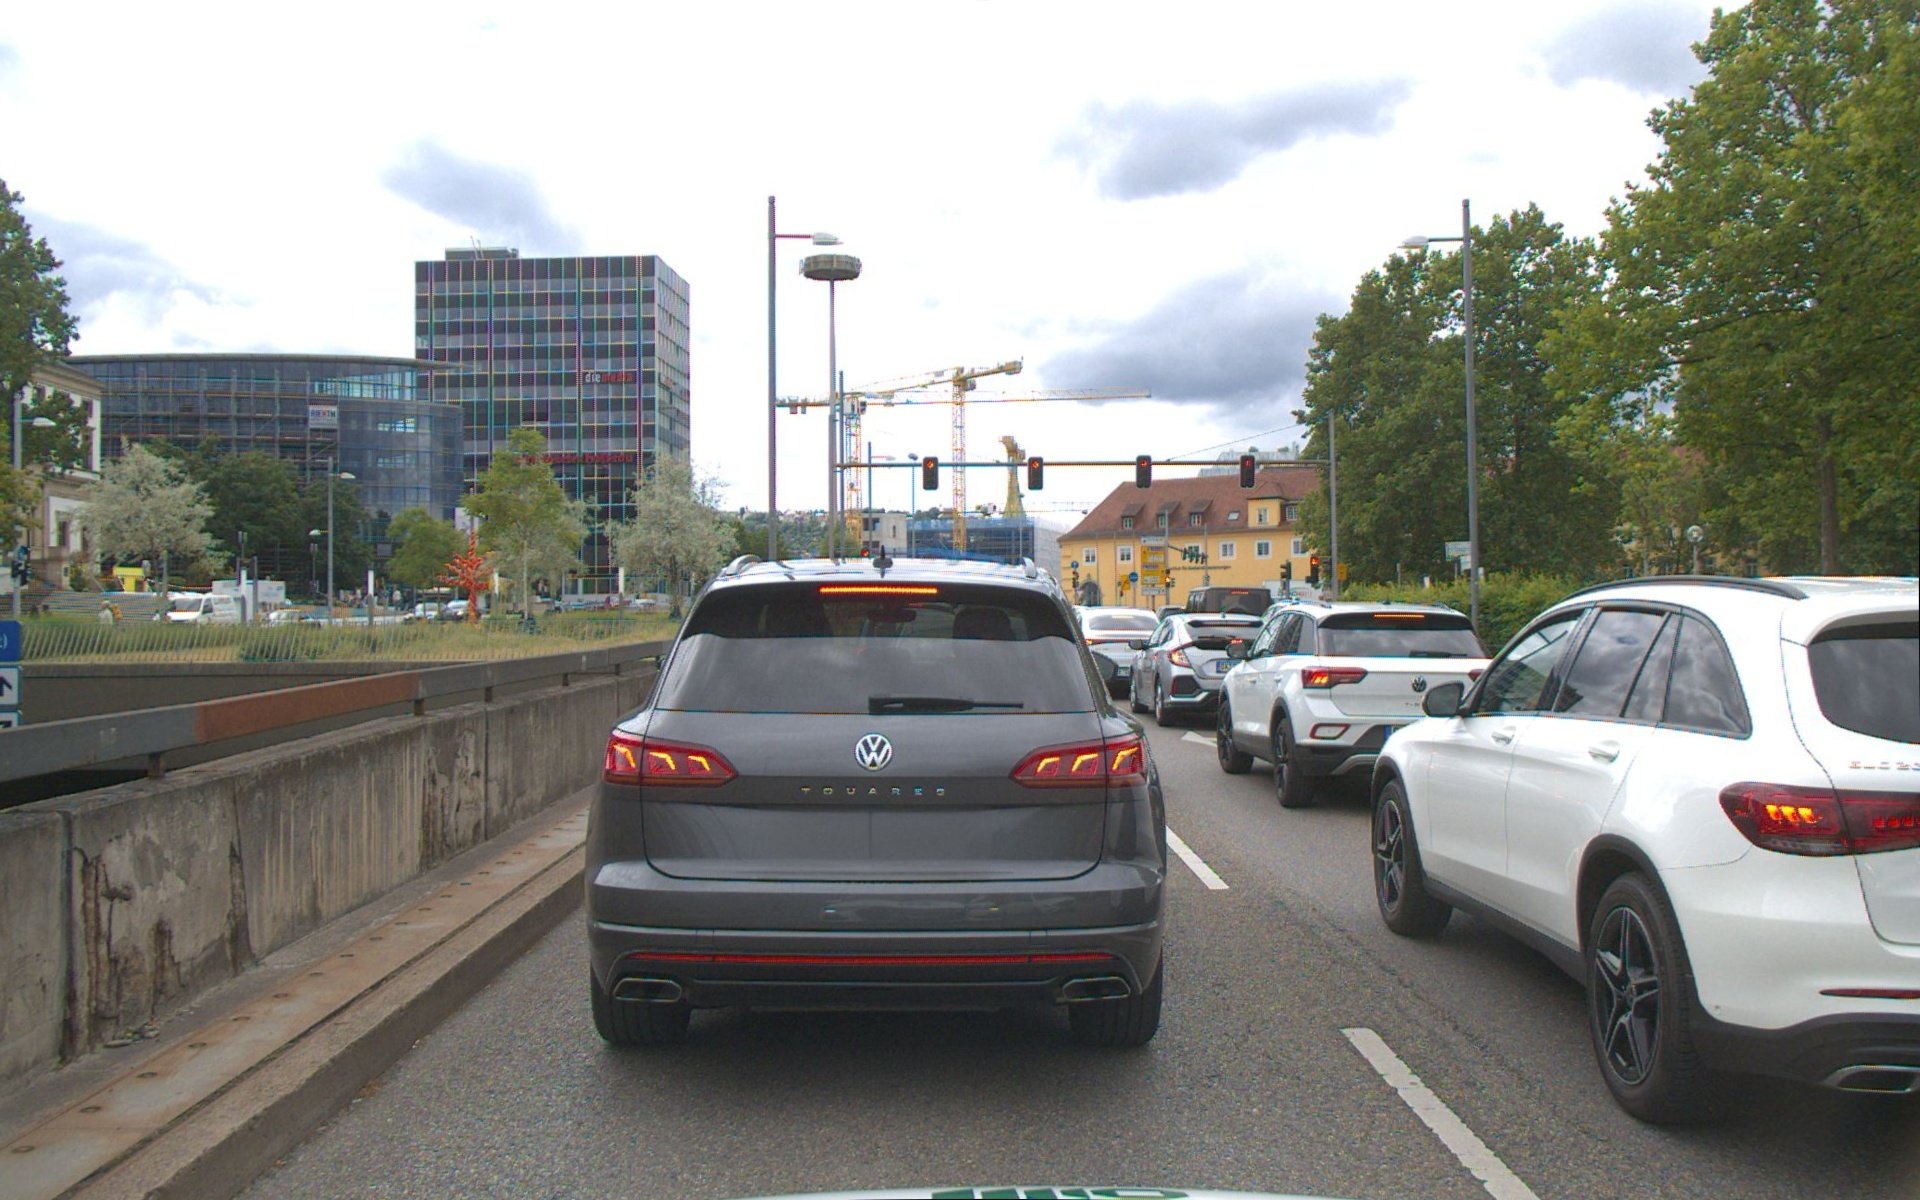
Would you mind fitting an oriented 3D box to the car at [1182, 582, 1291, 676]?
[{"bbox_3d":[6.486,0.681,39.200,1.871,2.049,4.011,2,-1,0],"label":"car"}]

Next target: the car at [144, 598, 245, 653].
[{"bbox_3d":[-31.367,1.003,67.946,1.953,2.048,4.692,0,1,0],"label":"car"}]

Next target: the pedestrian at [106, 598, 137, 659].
[{"bbox_3d":[-29.388,0.997,57.970,0.716,2.047,0.628,-1,4,-8],"label":"pedestrian"}]

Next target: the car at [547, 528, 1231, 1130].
[{"bbox_3d":[-0.227,0.650,6.648,1.912,1.680,3.999,0,0,-1],"label":"car"}]

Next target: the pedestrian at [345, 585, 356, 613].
[{"bbox_3d":[-45.700,-0.086,123.939,0.727,2.049,0.915,-1,1,-20],"label":"pedestrian"}]

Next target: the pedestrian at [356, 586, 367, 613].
[{"bbox_3d":[-45.312,-0.025,125.257,0.728,2.049,1.076,-1,1,-22],"label":"pedestrian"}]

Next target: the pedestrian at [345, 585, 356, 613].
[{"bbox_3d":[-46.079,-0.070,124.964,0.728,2.049,0.914,-1,1,-23],"label":"pedestrian"}]

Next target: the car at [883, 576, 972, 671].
[{"bbox_3d":[-0.751,0.528,38.540,1.912,2.053,3.930,2,0,-1],"label":"car"}]

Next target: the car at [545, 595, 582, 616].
[{"bbox_3d":[-39.812,0.546,166.103,1.979,2.048,4.629,-1,1,-37],"label":"car"}]

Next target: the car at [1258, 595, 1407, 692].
[{"bbox_3d":[6.847,0.756,30.847,1.952,1.668,4.305,0,0,2],"label":"car"}]

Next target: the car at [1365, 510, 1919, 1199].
[{"bbox_3d":[2.989,0.635,6.180,1.887,1.682,4.489,0,0,0],"label":"car"}]

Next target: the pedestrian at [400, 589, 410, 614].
[{"bbox_3d":[-46.445,0.138,138.527,0.726,2.049,0.789,-1,1,-16],"label":"pedestrian"}]

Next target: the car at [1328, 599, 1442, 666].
[{"bbox_3d":[10.111,0.783,39.656,1.891,1.485,4.529,1,-1,4],"label":"car"}]

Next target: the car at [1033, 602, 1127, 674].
[{"bbox_3d":[2.689,0.847,37.772,1.887,1.556,4.047,1,-1,0],"label":"car"}]

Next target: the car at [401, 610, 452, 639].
[{"bbox_3d":[-29.125,1.362,90.322,1.697,1.521,3.592,2,-1,-3],"label":"car"}]

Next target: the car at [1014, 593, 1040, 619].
[{"bbox_3d":[4.517,0.433,111.512,1.586,1.656,3.999,2,-1,0],"label":"car"}]

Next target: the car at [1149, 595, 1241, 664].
[{"bbox_3d":[6.307,0.794,44.776,1.871,1.727,4.011,2,-1,0],"label":"car"}]

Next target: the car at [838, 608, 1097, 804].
[{"bbox_3d":[0.023,0.808,14.387,1.912,1.408,3.930,2,0,-1],"label":"car"}]

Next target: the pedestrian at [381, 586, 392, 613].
[{"bbox_3d":[-44.466,-0.060,128.223,0.726,2.049,0.789,-1,1,-16],"label":"pedestrian"}]

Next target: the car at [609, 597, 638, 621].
[{"bbox_3d":[-31.021,0.839,152.393,1.965,2.048,4.663,-1,1,-21],"label":"car"}]

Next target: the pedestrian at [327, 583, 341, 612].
[{"bbox_3d":[-45.595,-0.200,120.514,0.723,2.049,0.793,-1,1,0],"label":"pedestrian"}]

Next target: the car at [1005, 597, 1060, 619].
[{"bbox_3d":[5.759,0.618,131.902,4.142,1.631,1.746,1,-1,36],"label":"car"}]

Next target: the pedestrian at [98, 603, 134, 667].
[{"bbox_3d":[-27.550,1.143,53.994,0.856,2.049,0.619,-1,1,-45],"label":"pedestrian"}]

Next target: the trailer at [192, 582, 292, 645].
[{"bbox_3d":[-31.633,0.541,73.068,1.996,2.650,5.507,2,1,-1],"label":"trailer"}]

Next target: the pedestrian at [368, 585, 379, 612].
[{"bbox_3d":[-44.847,-0.115,126.481,0.726,2.049,0.789,-1,1,-16],"label":"pedestrian"}]

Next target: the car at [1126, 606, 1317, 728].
[{"bbox_3d":[3.390,0.834,22.238,1.887,1.457,4.489,1,-1,0],"label":"car"}]

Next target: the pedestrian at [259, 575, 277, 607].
[{"bbox_3d":[-44.344,-0.604,106.049,0.724,2.049,1.113,-1,1,-6],"label":"pedestrian"}]

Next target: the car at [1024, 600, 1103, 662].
[{"bbox_3d":[2.711,0.814,44.061,1.887,1.556,4.047,1,-1,0],"label":"car"}]

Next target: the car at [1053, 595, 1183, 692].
[{"bbox_3d":[2.674,0.734,28.953,1.887,1.556,4.489,1,-1,0],"label":"car"}]

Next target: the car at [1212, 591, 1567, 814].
[{"bbox_3d":[3.407,0.761,14.054,1.887,1.578,4.489,1,-1,0],"label":"car"}]

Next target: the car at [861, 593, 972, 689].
[{"bbox_3d":[-0.796,0.720,31.004,1.912,1.628,3.930,2,0,-1],"label":"car"}]

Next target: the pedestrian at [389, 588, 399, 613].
[{"bbox_3d":[-47.345,0.056,138.395,0.726,2.049,0.789,-1,1,-16],"label":"pedestrian"}]

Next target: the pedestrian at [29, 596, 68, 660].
[{"bbox_3d":[-29.672,0.895,53.844,0.777,2.049,0.834,0,1,35],"label":"pedestrian"}]
